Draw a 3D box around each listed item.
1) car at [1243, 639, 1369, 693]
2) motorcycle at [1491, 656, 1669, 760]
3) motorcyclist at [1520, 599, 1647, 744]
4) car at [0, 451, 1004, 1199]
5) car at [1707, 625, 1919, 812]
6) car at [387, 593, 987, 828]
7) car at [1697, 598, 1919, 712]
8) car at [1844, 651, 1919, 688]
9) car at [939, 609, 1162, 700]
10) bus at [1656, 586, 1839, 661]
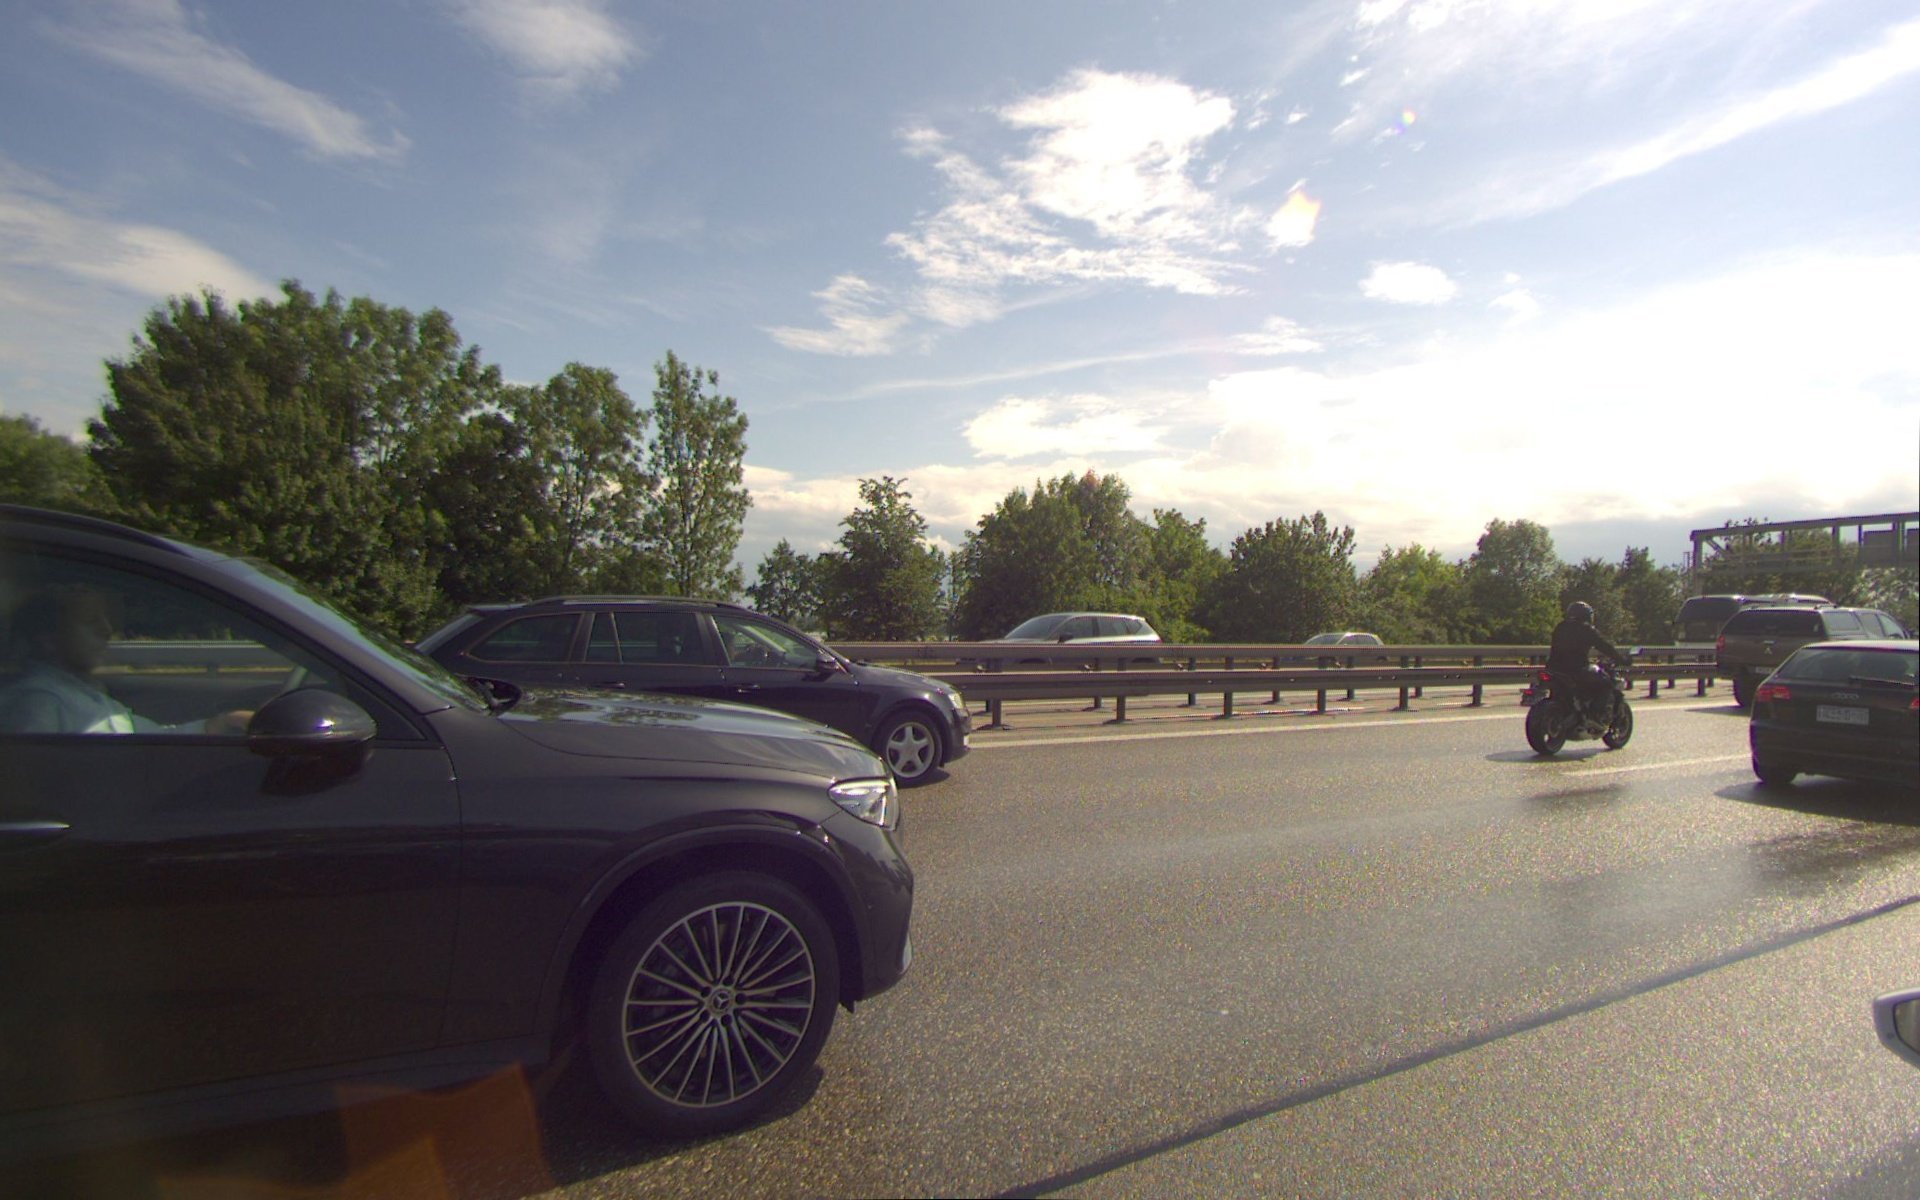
[{"bbox_3d":[11.378,2.117,32.987,3.952,1.613,1.724,1,0,-30],"label":"car"},{"bbox_3d":[7.057,1.175,11.382,2.360,1.041,0.687,1,0,-30],"label":"motorcycle"},{"bbox_3d":[7.057,0.777,11.382,1.080,1.558,0.792,1,0,-30],"label":"motorcyclist"},{"bbox_3d":[-2.308,0.555,2.829,4.571,1.701,1.868,1,0,-30],"label":"car"},{"bbox_3d":[9.095,1.004,9.563,4.006,1.452,1.742,1,0,-30],"label":"car"},{"bbox_3d":[-2.119,0.727,8.109,4.322,1.444,1.910,2,0,-31],"label":"car"},{"bbox_3d":[16.109,0.962,18.704,5.352,1.869,1.798,1,0,-29],"label":"car"},{"bbox_3d":[40.189,2.981,43.478,3.954,1.461,1.767,2,0,-31],"label":"car"},{"bbox_3d":[1.760,0.996,19.212,3.953,1.565,1.791,2,0,-31],"label":"car"},{"bbox_3d":[39.703,1.209,50.439,12.324,3.419,2.877,2,0,-30],"label":"bus"}]
